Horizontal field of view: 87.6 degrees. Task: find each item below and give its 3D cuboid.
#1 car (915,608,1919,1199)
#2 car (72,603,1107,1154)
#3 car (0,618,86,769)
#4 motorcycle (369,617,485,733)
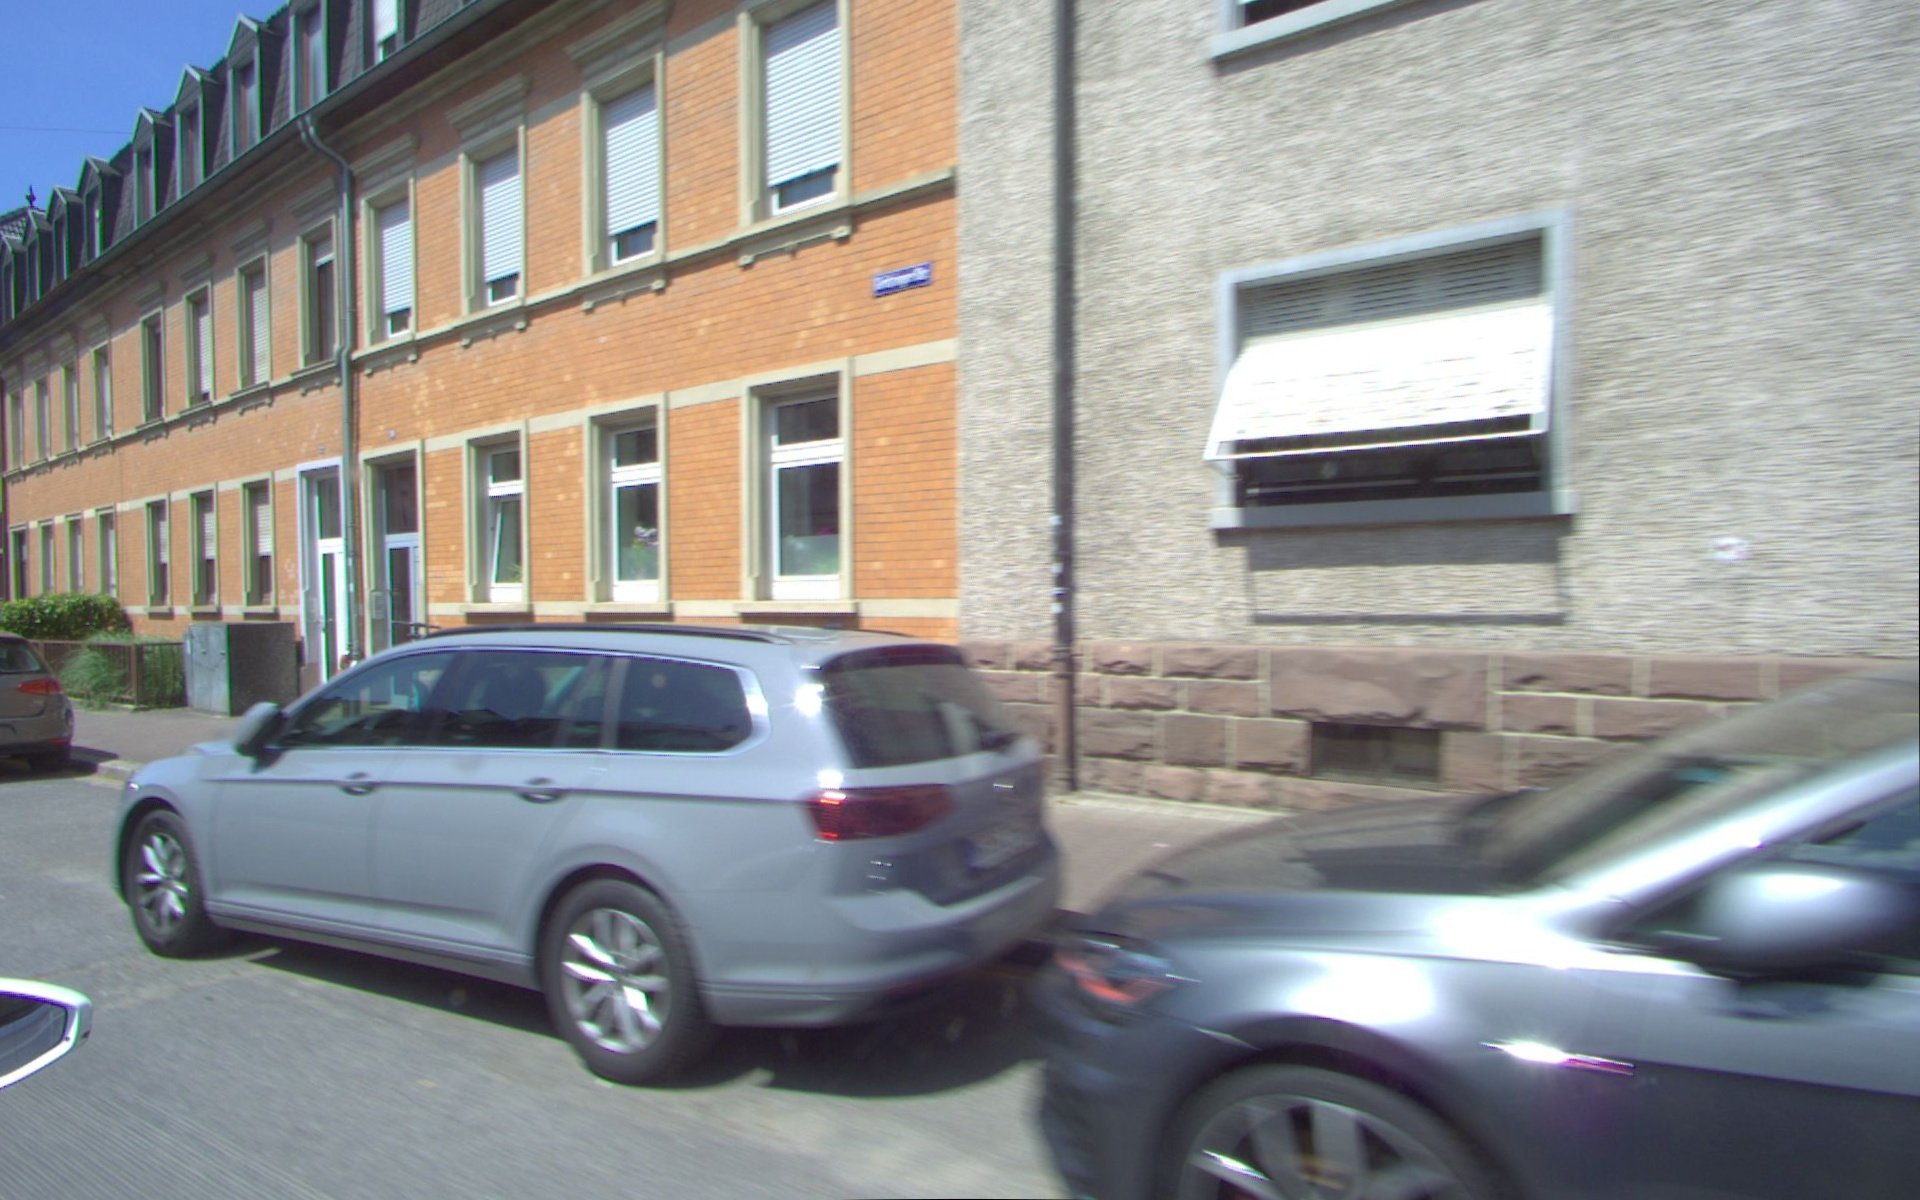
[{"bbox_3d":[2.032,0.747,1.957,3.987,1.439,1.649,0,1,30],"label":"car"},{"bbox_3d":[-1.771,0.780,4.536,4.478,1.482,1.853,-1,0,27],"label":"car"},{"bbox_3d":[-10.785,0.894,10.223,4.107,1.399,1.697,-1,0,32],"label":"car"},{"bbox_3d":[-6.128,0.828,11.502,1.342,1.241,0.594,-1,1,34],"label":"motorcycle"}]
